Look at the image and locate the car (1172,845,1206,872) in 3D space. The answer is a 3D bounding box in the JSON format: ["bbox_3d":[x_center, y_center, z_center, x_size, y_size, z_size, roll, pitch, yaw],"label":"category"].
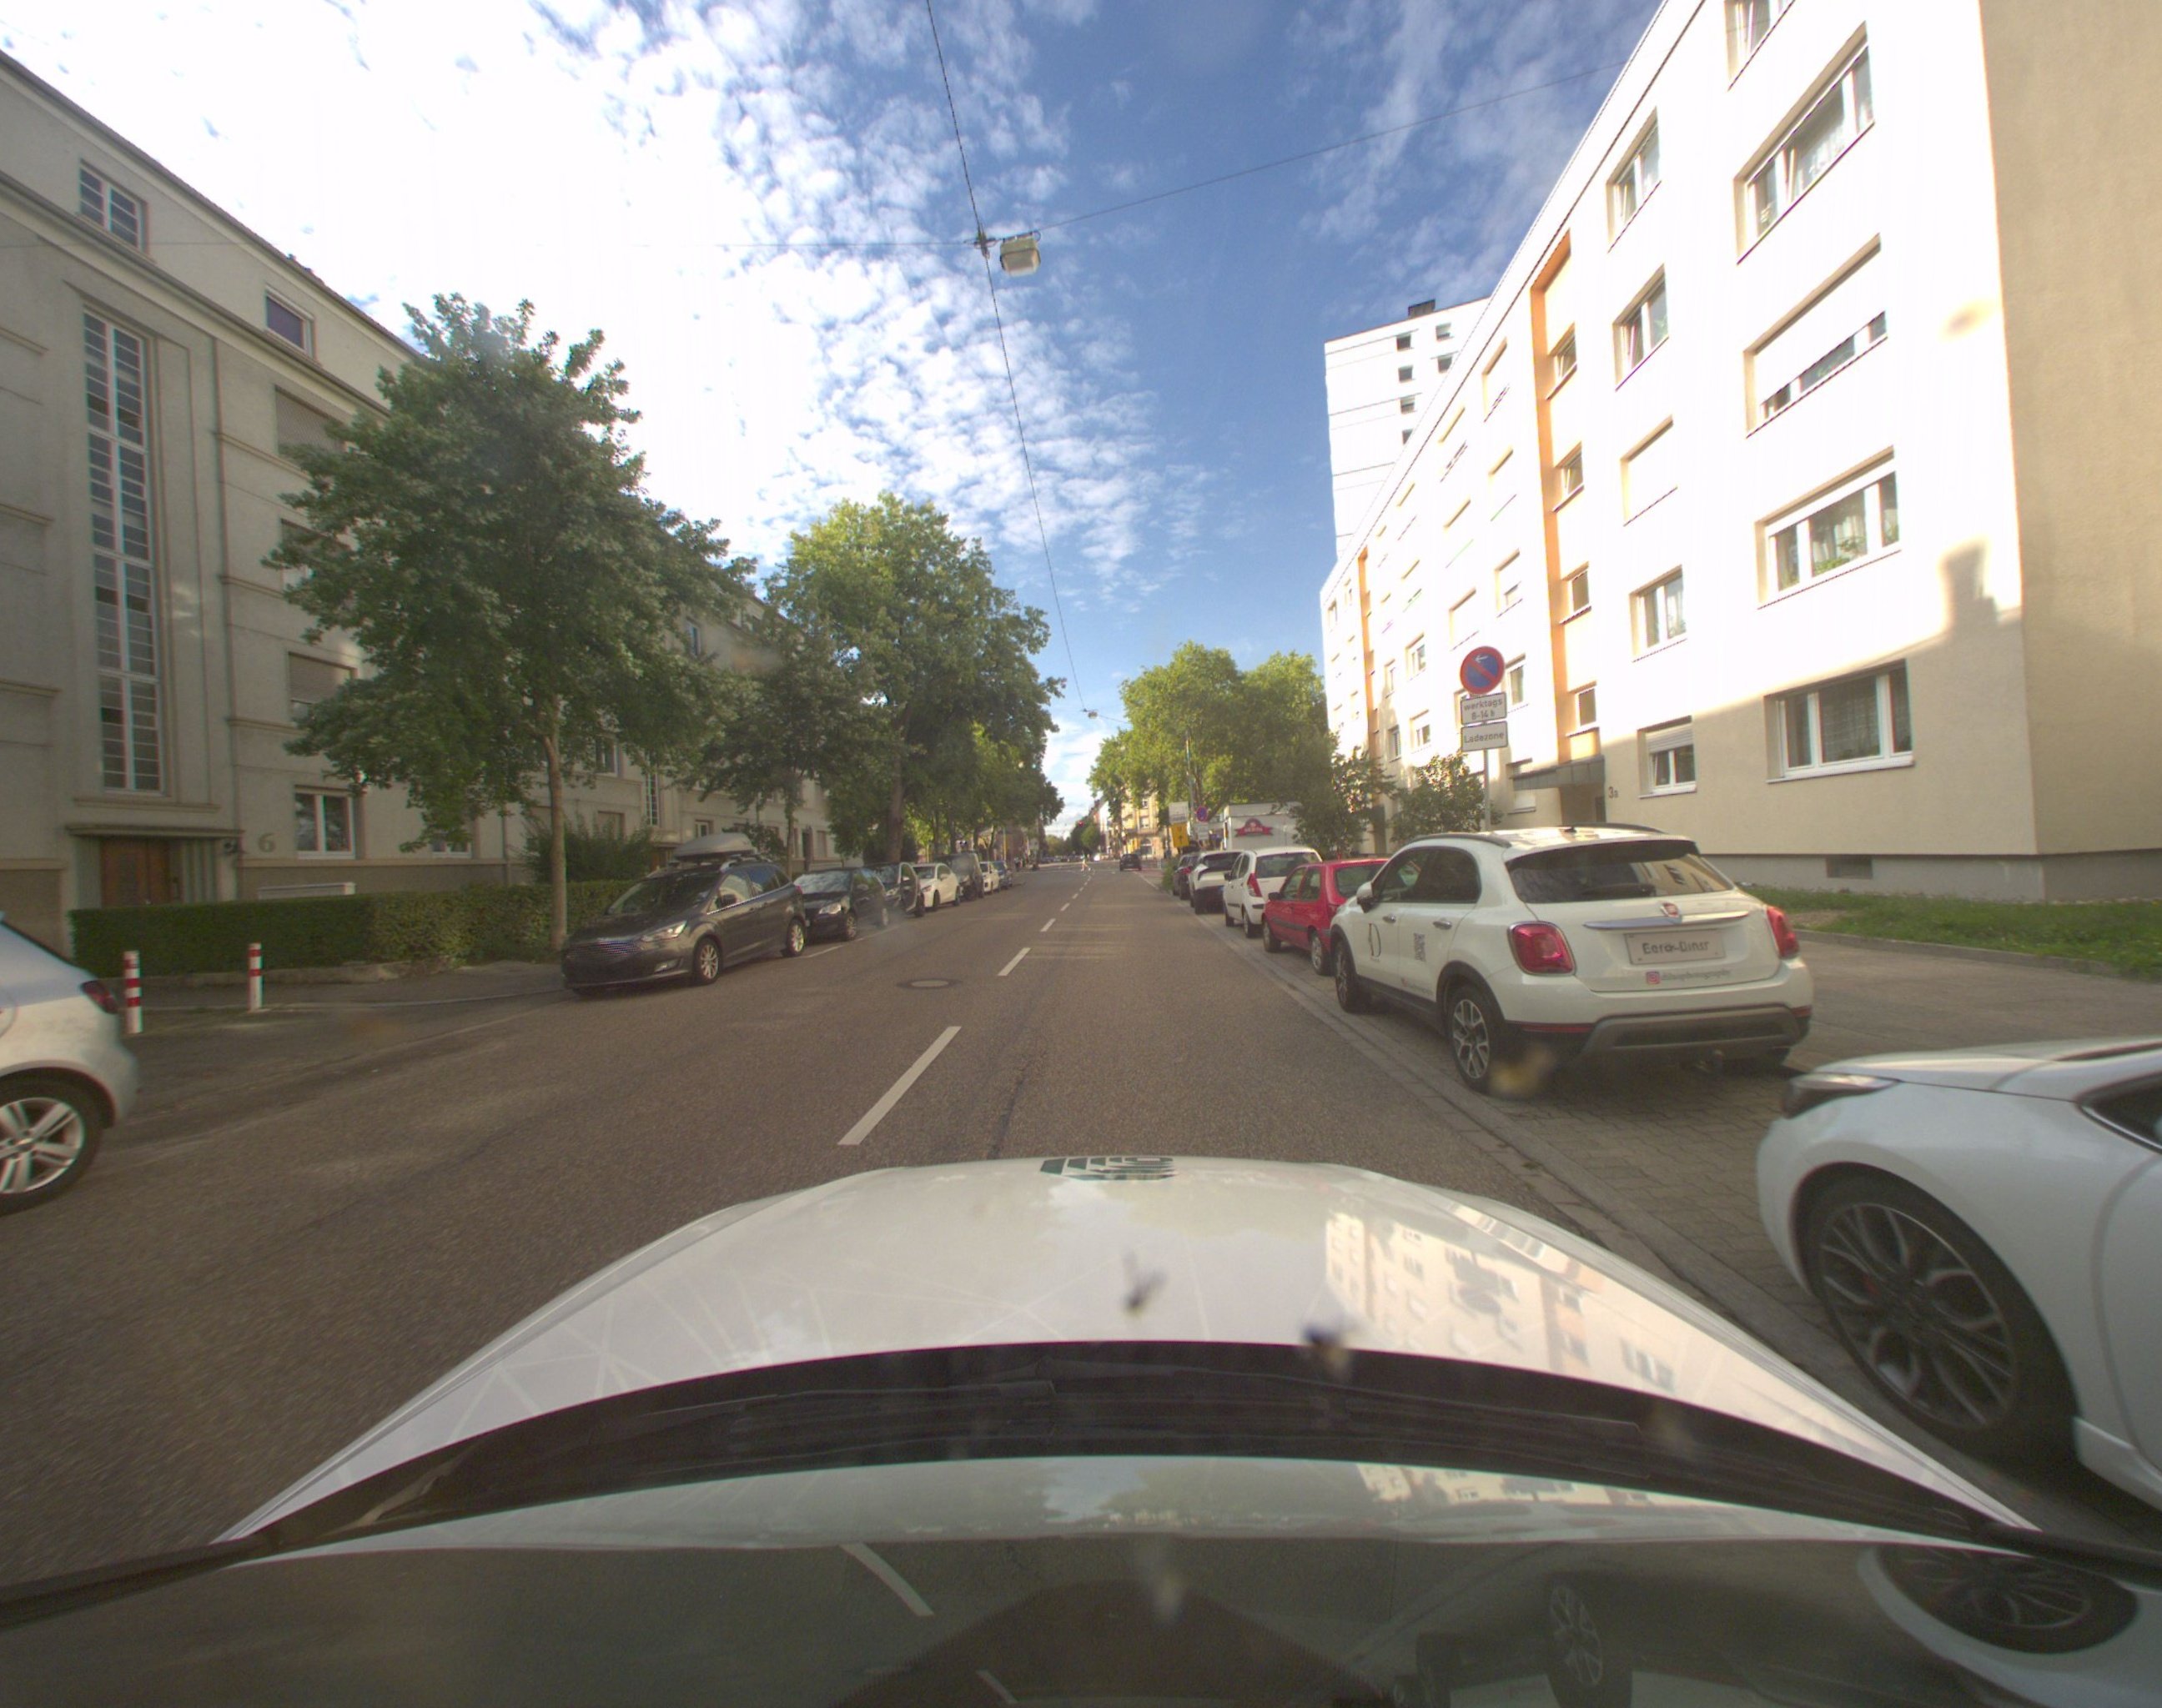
[{"bbox_3d":[6.307,0.253,47.728,1.752,1.411,4.240,-4,0,6],"label":"car"}]

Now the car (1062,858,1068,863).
[{"bbox_3d":[-4.813,1.918,245.644,1.771,1.230,3.589,-2,0,1],"label":"car"}]

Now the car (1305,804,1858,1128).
[{"bbox_3d":[3.197,0.598,6.338,1.723,1.580,4.117,-4,0,1],"label":"car"}]

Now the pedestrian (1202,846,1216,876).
[{"bbox_3d":[7.086,0.391,45.053,0.650,1.645,0.743,-2,0,2],"label":"pedestrian"}]

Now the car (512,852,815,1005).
[{"bbox_3d":[-5.722,0.885,11.960,1.792,1.668,4.486,-5,0,3],"label":"car"}]

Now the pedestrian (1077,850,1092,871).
[{"bbox_3d":[0.308,0.570,71.886,1.076,1.753,0.914,-2,0,-14],"label":"pedestrian"}]

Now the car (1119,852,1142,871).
[{"bbox_3d":[4.035,0.613,67.181,1.745,1.413,4.002,-2,0,2],"label":"car"}]

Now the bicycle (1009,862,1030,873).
[{"bbox_3d":[-5.942,1.304,78.957,1.937,0.994,0.754,-2,0,-44],"label":"bicycle"}]

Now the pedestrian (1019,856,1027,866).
[{"bbox_3d":[-8.500,1.056,119.510,0.773,1.432,0.735,-2,0,26],"label":"pedestrian"}]

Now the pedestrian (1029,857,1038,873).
[{"bbox_3d":[-5.020,1.178,85.699,0.810,1.654,1.077,-3,0,2],"label":"pedestrian"}]

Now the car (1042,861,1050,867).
[{"bbox_3d":[-8.317,2.381,195.162,1.545,1.230,3.589,-2,0,1],"label":"car"}]

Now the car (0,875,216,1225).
[{"bbox_3d":[-6.007,1.008,2.747,1.733,1.620,3.995,-5,0,1],"label":"car"}]

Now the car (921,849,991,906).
[{"bbox_3d":[-4.674,0.823,30.977,1.716,1.882,4.194,-5,0,2],"label":"car"}]

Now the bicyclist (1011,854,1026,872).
[{"bbox_3d":[-6.056,0.827,78.921,1.119,1.691,0.804,-2,0,-43],"label":"bicyclist"}]

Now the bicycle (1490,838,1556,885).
[{"bbox_3d":[11.449,0.190,21.179,0.527,1.115,2.211,-4,0,3],"label":"bicycle"}]

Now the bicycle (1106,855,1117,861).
[{"bbox_3d":[5.906,0.847,159.862,2.023,1.082,0.618,-3,0,-11],"label":"bicycle"}]

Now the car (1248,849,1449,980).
[{"bbox_3d":[3.438,0.701,11.175,1.510,1.398,3.676,-4,0,1],"label":"car"}]

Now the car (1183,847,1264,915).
[{"bbox_3d":[3.650,0.631,21.452,1.682,1.528,4.243,-3,0,5],"label":"car"}]

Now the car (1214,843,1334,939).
[{"bbox_3d":[3.547,0.627,15.506,1.545,1.557,3.471,-3,0,3],"label":"car"}]

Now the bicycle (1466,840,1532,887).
[{"bbox_3d":[10.832,0.227,21.206,0.594,1.115,2.211,-4,0,3],"label":"bicycle"}]

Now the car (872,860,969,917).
[{"bbox_3d":[-4.964,1.022,25.810,1.686,1.493,4.339,-4,0,6],"label":"car"}]

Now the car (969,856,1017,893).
[{"bbox_3d":[-4.378,0.983,40.872,1.793,1.620,3.803,-5,0,1],"label":"car"}]

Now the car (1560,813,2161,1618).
[{"bbox_3d":[2.846,0.654,1.190,1.721,1.487,4.646,-4,0,4],"label":"car"}]

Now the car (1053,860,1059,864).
[{"bbox_3d":[-7.653,2.488,252.807,1.545,1.230,3.589,-2,0,1],"label":"car"}]

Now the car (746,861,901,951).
[{"bbox_3d":[-5.190,0.979,16.977,1.693,1.487,3.851,-5,0,3],"label":"car"}]

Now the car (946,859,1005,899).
[{"bbox_3d":[-4.621,1.067,36.299,1.792,1.493,3.806,-5,0,3],"label":"car"}]

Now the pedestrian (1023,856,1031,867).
[{"bbox_3d":[-8.019,1.091,121.070,0.774,1.662,0.783,-3,0,21],"label":"pedestrian"}]

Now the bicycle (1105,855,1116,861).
[{"bbox_3d":[5.735,0.867,160.462,2.023,1.082,0.628,-3,0,-11],"label":"bicycle"}]

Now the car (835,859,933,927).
[{"bbox_3d":[-5.098,0.965,21.421,1.546,1.520,3.019,-5,0,4],"label":"car"}]

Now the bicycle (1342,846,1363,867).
[{"bbox_3d":[13.172,0.130,39.530,0.476,0.963,1.553,-2,0,0],"label":"bicycle"}]

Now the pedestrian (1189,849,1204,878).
[{"bbox_3d":[6.327,0.498,44.568,0.650,1.538,0.743,-4,0,2],"label":"pedestrian"}]

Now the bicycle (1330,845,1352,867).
[{"bbox_3d":[12.619,0.097,39.538,0.520,1.056,1.553,-2,0,0],"label":"bicycle"}]

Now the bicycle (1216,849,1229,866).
[{"bbox_3d":[10.949,0.280,62.933,0.765,1.206,1.818,-4,0,5],"label":"bicycle"}]

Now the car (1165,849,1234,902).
[{"bbox_3d":[3.864,0.647,27.103,1.684,1.528,4.238,-4,0,1],"label":"car"}]

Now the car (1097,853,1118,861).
[{"bbox_3d":[5.235,0.664,162.195,3.981,1.420,1.997,-3,0,-5],"label":"car"}]
